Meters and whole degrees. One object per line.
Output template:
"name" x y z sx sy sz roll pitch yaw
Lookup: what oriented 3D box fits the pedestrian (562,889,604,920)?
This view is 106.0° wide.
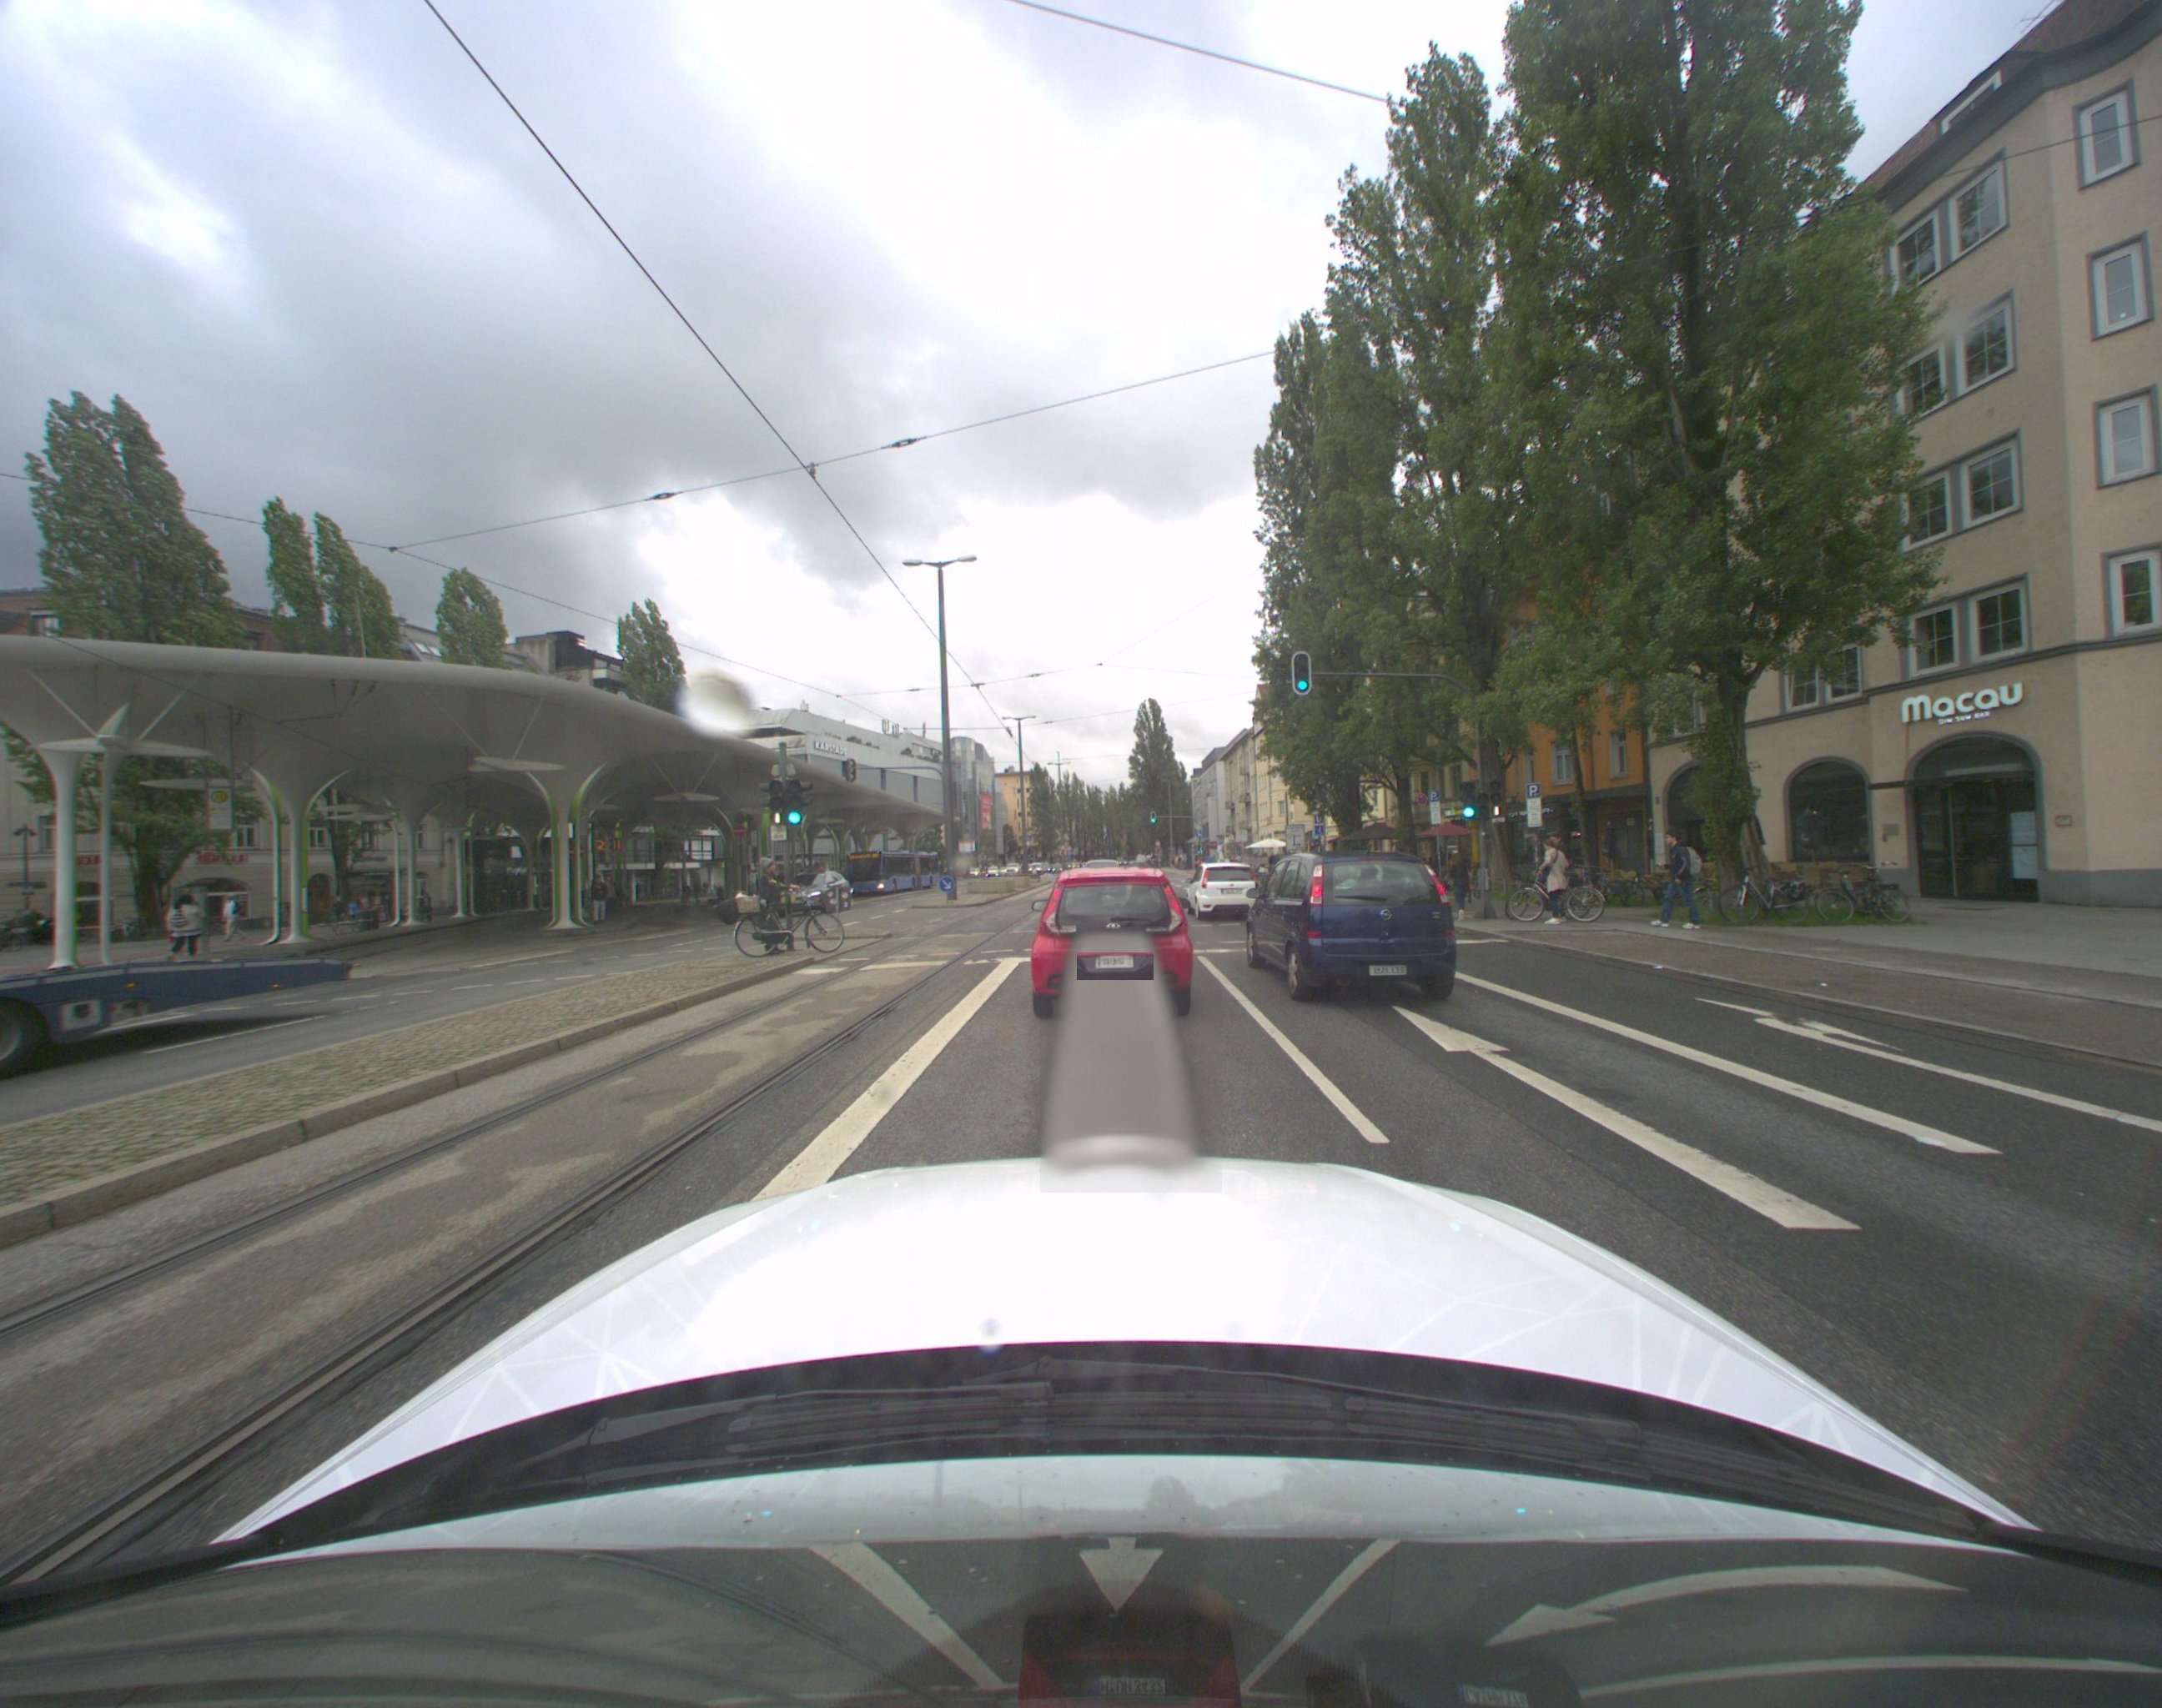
"pedestrian" -21.314 2.168 34.871 0.803 1.230 1.277 -3 -1 20

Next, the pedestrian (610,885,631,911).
"pedestrian" -28.750 2.733 50.864 0.742 1.508 0.894 -3 -1 -5

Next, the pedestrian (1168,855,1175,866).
"pedestrian" 13.663 1.010 122.648 0.809 1.522 0.797 -3 -1 -11

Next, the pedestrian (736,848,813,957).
"pedestrian" -5.294 0.825 14.098 0.852 1.812 0.901 -2 -2 15

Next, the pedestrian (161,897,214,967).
"pedestrian" -22.019 1.902 20.078 0.738 1.609 0.844 -3 -1 42

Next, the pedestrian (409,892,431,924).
"pedestrian" -34.918 2.859 43.037 0.600 1.647 0.640 -3 -1 -6

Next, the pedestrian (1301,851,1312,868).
"pedestrian" 18.819 0.459 68.047 0.673 1.423 0.617 -2 -1 2

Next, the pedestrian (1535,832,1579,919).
"pedestrian" 10.059 0.444 17.204 0.692 1.780 0.655 -2 0 35

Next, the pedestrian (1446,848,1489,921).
"pedestrian" 8.554 0.662 18.055 0.753 1.562 0.767 -2 0 22

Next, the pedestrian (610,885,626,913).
"pedestrian" -26.761 2.583 47.103 0.664 1.564 0.637 -2 -1 -24

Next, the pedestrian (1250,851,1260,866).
"pedestrian" 21.442 0.519 100.540 0.930 1.755 1.066 -3 -1 2

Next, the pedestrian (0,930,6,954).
"pedestrian" -48.560 3.955 36.430 0.464 1.083 0.405 -3 -1 15

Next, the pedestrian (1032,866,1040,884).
"pedestrian" -4.134 1.900 75.119 0.466 1.618 0.515 -2 -1 -45

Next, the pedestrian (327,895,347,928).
"pedestrian" -42.258 3.267 46.267 0.552 1.814 0.557 -3 -1 13

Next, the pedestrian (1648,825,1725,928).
"pedestrian" 10.942 0.394 14.747 0.874 1.801 0.758 1 0 10

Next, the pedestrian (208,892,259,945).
"pedestrian" -33.921 2.583 32.605 0.993 2.014 1.032 -3 -1 17

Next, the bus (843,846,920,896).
"bus" -13.812 1.136 57.352 2.652 3.007 10.513 -4 -1 0

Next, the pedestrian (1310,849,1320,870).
"pedestrian" 19.317 0.449 67.295 0.612 1.633 0.678 -2 -1 2

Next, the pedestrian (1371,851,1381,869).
"pedestrian" 21.773 0.424 60.045 0.493 1.332 0.552 -2 -1 2

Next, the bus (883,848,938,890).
"bus" -13.751 1.205 66.352 2.652 3.007 7.512 -4 -1 0

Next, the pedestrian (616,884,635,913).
"pedestrian" -27.173 2.644 48.542 0.643 1.618 0.701 -3 -1 6

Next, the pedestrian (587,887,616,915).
"pedestrian" -25.184 2.453 42.811 0.957 1.370 0.843 -3 -1 8

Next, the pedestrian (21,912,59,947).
"pedestrian" -55.597 4.034 43.502 0.952 1.784 0.801 -2 -1 1

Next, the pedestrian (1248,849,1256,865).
"pedestrian" 20.154 0.368 96.048 0.648 1.751 0.635 -4 2 -7

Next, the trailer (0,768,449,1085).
"trailer" -10.416 0.675 3.934 2.602 2.682 15.632 -4 0 -1

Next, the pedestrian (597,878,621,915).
"pedestrian" -23.062 2.061 39.806 0.809 1.728 0.669 -3 -1 -15

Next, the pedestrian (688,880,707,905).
"pedestrian" -28.508 2.846 60.528 0.867 1.730 0.896 -3 -1 3

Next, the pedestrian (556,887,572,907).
"pedestrian" -44.912 3.704 70.738 0.775 1.661 0.776 -3 -1 11

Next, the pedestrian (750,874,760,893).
"pedestrian" -28.013 2.525 70.016 0.572 1.610 0.546 -2 -1 -8

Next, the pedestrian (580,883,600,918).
"pedestrian" -22.920 2.159 38.000 0.593 1.545 0.634 -2 -1 -16

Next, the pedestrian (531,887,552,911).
"pedestrian" -41.729 3.454 62.989 0.921 1.773 1.004 -3 -1 21

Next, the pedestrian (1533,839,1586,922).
"pedestrian" 9.736 0.523 16.584 0.760 1.638 0.693 -2 0 -42

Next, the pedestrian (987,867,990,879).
"pedestrian" -14.000 2.909 123.505 0.445 1.760 0.355 -2 -1 -6

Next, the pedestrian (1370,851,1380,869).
"pedestrian" 22.018 0.430 61.010 0.493 1.289 0.552 -2 -1 2

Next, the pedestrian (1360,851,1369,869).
"pedestrian" 21.251 0.433 61.082 0.493 1.289 0.552 -2 -1 2

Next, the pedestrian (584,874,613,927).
"pedestrian" -17.282 1.654 29.151 0.800 1.839 0.670 -3 -1 45

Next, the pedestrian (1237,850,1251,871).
"pedestrian" 14.160 0.571 70.707 0.882 1.743 0.854 -2 -1 -15

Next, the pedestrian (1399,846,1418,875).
"pedestrian" 18.940 0.390 47.076 0.707 1.633 0.787 -2 -1 2

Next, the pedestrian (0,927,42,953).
"pedestrian" -48.302 3.896 37.022 1.821 1.083 0.619 -3 -1 15

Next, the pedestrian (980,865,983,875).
"pedestrian" -15.027 2.457 123.453 0.353 1.567 0.269 -3 -1 -10

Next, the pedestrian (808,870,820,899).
"pedestrian" -16.445 1.881 50.133 0.565 1.743 0.753 -3 -1 -13

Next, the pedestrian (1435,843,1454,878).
"pedestrian" 18.594 0.338 41.670 0.598 1.739 0.666 -2 -1 2

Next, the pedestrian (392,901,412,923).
"pedestrian" -35.146 2.996 42.134 0.516 1.084 0.577 -3 -1 -6

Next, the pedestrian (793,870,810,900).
"pedestrian" -16.503 1.833 48.099 0.714 1.722 0.878 -2 -1 -11

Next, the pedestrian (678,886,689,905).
"pedestrian" -28.705 2.997 58.828 0.577 1.265 0.514 -2 -1 -37

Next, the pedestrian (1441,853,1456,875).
"pedestrian" 21.282 0.580 47.144 0.581 1.280 0.583 -2 -1 1

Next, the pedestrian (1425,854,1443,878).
"pedestrian" 18.012 0.608 41.552 0.598 1.222 0.666 -2 -1 2

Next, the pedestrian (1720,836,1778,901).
"pedestrian" 17.148 0.375 20.922 0.840 1.602 0.826 -3 -1 17

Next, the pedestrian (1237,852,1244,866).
"pedestrian" 18.947 0.569 96.822 0.560 1.670 0.565 -2 3 24
